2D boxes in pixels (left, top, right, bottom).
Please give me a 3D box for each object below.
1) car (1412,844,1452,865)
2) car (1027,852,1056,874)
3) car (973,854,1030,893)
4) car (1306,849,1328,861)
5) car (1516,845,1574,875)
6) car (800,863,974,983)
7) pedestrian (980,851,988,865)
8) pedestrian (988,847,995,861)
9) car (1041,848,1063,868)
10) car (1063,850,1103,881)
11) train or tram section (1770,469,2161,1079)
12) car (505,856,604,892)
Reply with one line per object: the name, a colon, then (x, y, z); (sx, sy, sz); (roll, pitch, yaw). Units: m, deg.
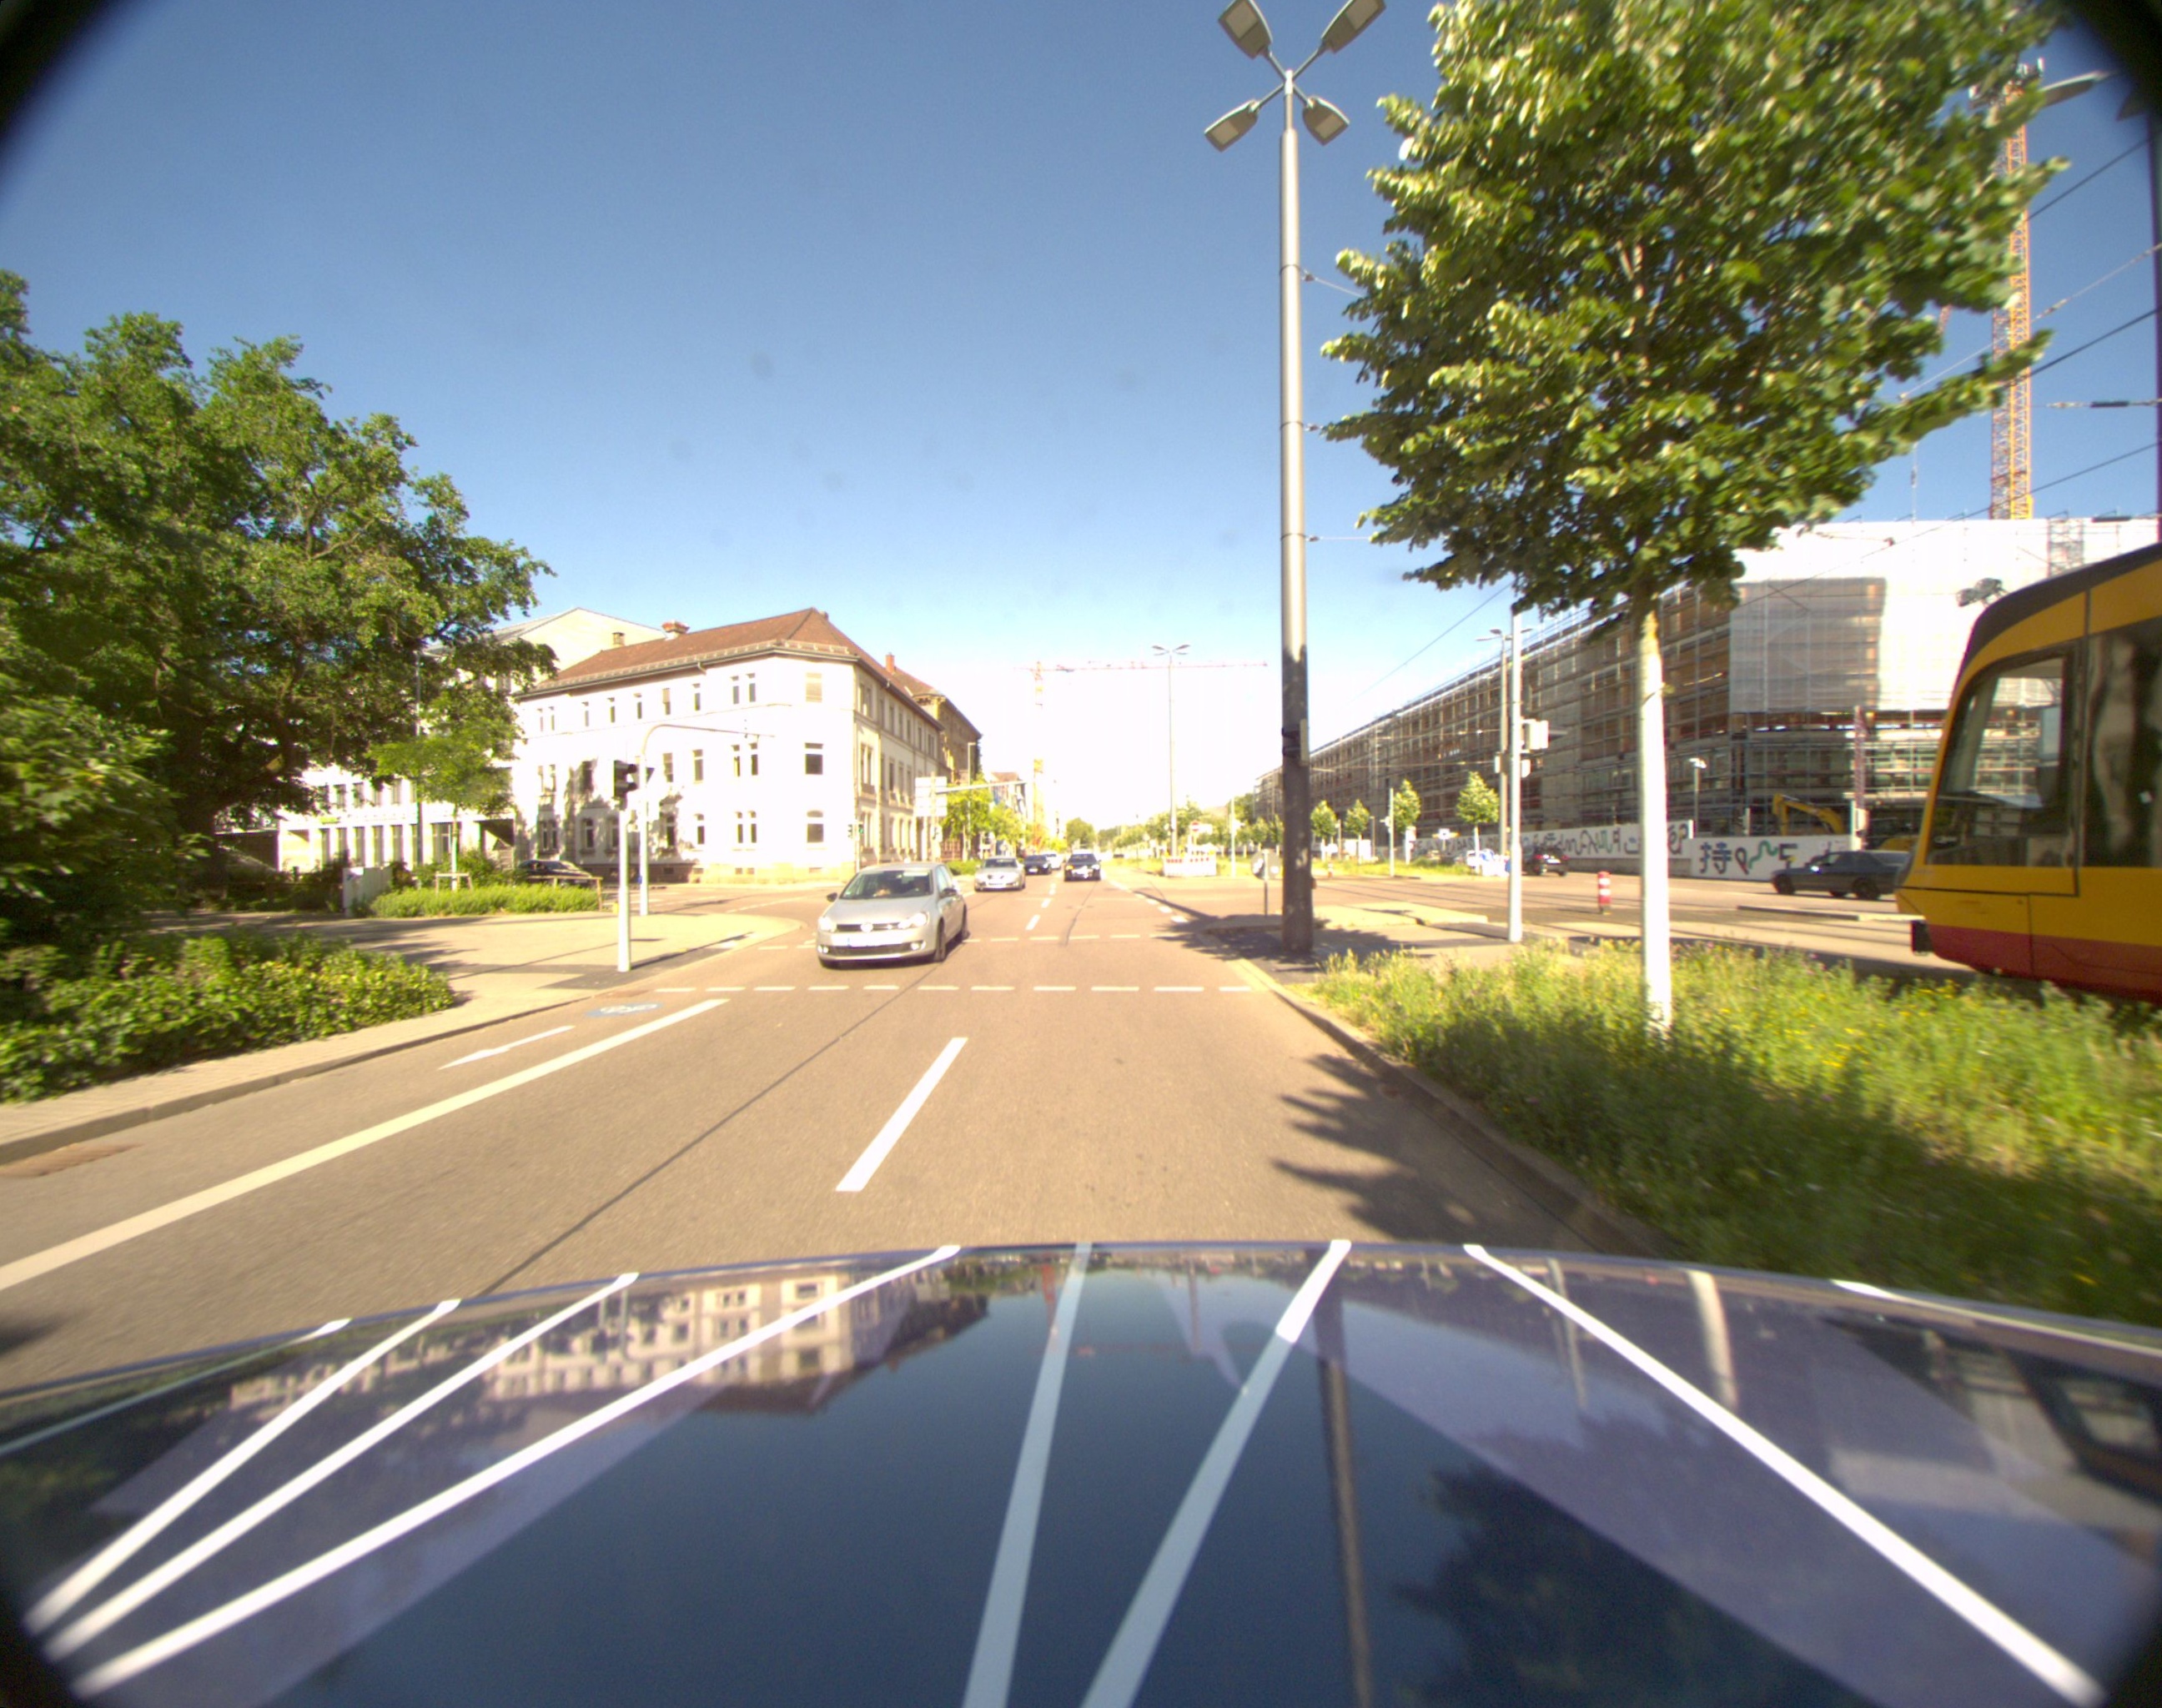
car: (27.508, 0.016, 59.626); (1.888, 1.565, 4.003); (-2, 1, 11)
car: (-2.712, 0.596, 52.878); (1.703, 1.415, 3.999); (-2, 1, 1)
car: (-3.154, 0.740, 30.937); (1.839, 1.415, 3.999); (-2, 1, 1)
car: (29.297, 0.081, 94.546); (1.598, 1.458, 3.480); (-2, 1, 0)
car: (25.379, 0.300, 41.698); (1.725, 1.488, 3.578); (-2, 1, 14)
car: (-2.890, 0.956, 12.235); (1.703, 1.466, 3.999); (-2, 1, 1)
pedestrian: (-10.812, 0.435, 84.698); (0.669, 1.552, 0.906); (-2, 1, -1)
pedestrian: (-10.004, -0.008, 84.663); (0.669, 1.552, 0.906); (-2, 1, -1)
car: (-2.549, 0.345, 66.711); (1.703, 1.622, 3.999); (-2, 1, 1)
car: (0.046, 0.579, 40.227); (1.999, 1.493, 3.999); (-1, 1, -2)
train or tram section: (7.341, -0.437, 0.103); (1.998, 3.648, 14.151); (-2, 1, 2)
car: (-23.304, 0.916, 33.643); (3.990, 1.473, 1.736); (-1, -2, 24)
